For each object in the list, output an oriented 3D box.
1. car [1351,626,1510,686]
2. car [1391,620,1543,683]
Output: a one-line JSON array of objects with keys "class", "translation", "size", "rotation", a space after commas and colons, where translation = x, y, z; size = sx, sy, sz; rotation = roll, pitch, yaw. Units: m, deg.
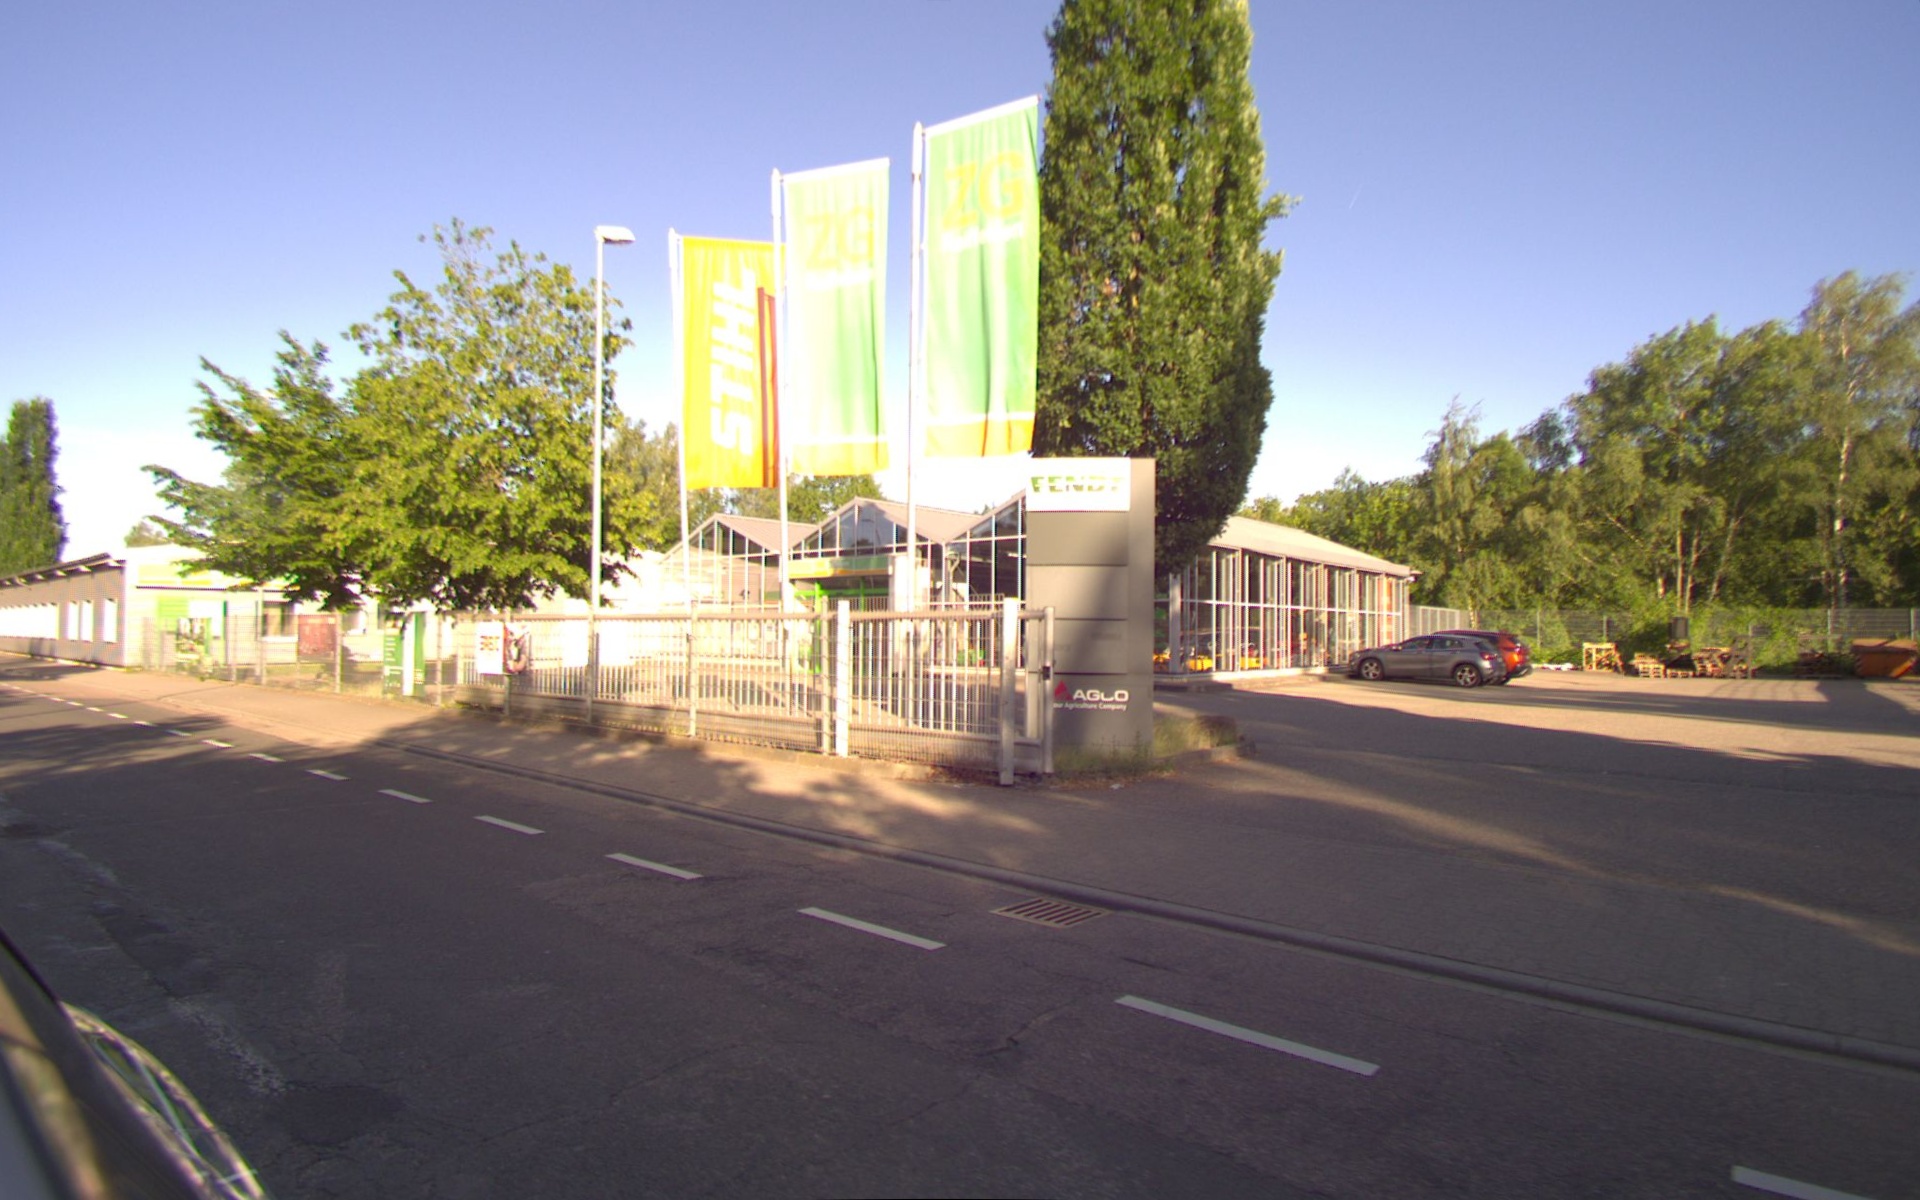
[{"class": "car", "translation": [14.142, 1.635, 30.510], "size": [3.996, 1.521, 1.861], "rotation": [1, -1, 39]}, {"class": "car", "translation": [16.067, 1.594, 32.174], "size": [3.996, 1.752, 1.861], "rotation": [1, -1, 39]}]
